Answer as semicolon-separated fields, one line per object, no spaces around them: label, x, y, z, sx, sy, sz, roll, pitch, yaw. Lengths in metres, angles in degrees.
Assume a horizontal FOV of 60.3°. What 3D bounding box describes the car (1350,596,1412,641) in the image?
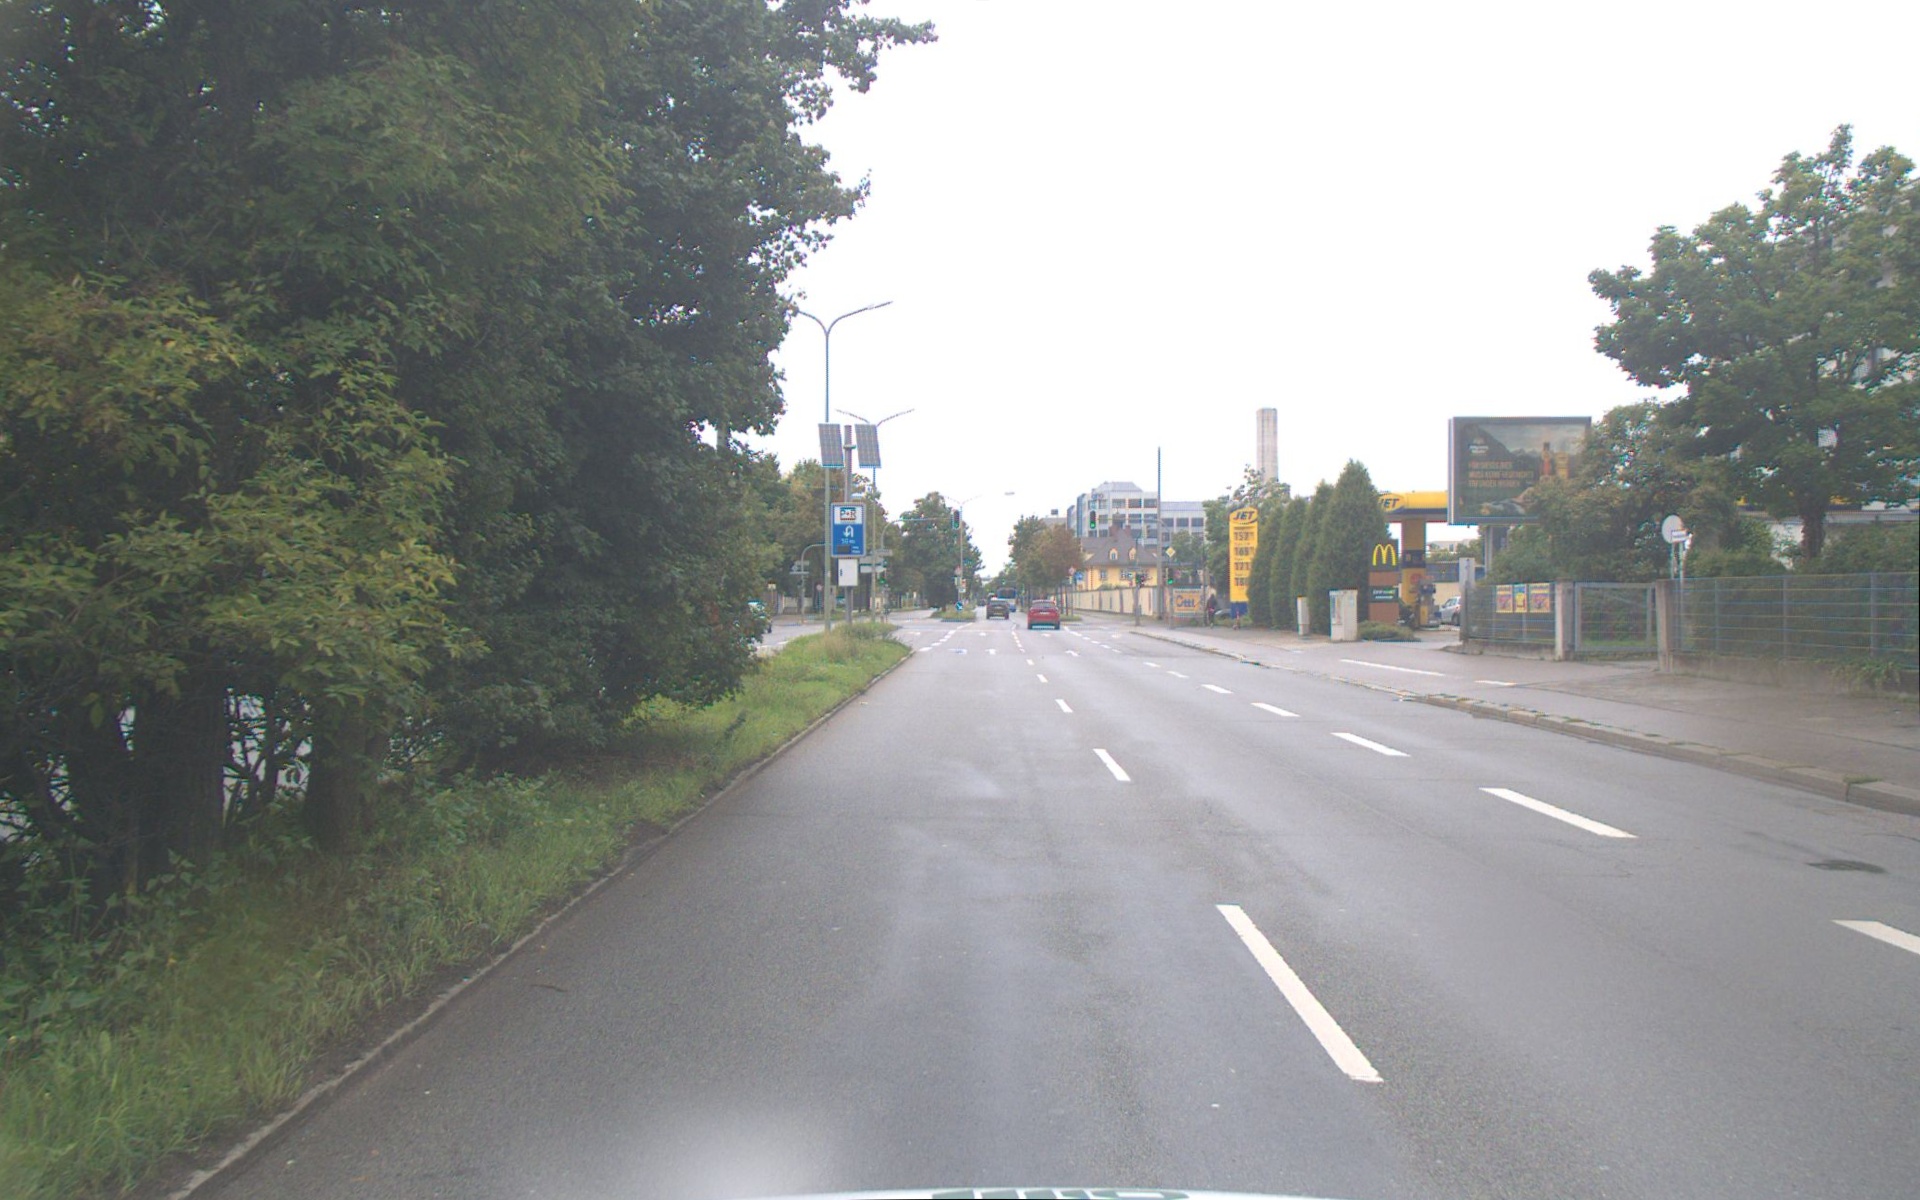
car;17.619;0.743;69.324;1.717;1.825;4.001;0;0;3

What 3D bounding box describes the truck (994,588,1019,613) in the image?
truck;6.234;0.067;222.025;2.909;3.343;7.913;0;0;-1

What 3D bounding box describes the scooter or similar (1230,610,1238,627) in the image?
scooter or similar;13.443;0.922;81.138;0.171;0.838;0.778;-1;0;23

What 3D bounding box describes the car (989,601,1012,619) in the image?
car;3.360;0.861;138.212;1.766;1.458;3.999;-1;0;-1

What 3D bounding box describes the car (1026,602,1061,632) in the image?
car;4.631;0.940;92.361;1.824;1.646;4.000;0;-1;1

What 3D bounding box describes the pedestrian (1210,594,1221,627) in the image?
pedestrian;12.646;0.522;81.875;0.473;1.664;0.590;0;0;2
